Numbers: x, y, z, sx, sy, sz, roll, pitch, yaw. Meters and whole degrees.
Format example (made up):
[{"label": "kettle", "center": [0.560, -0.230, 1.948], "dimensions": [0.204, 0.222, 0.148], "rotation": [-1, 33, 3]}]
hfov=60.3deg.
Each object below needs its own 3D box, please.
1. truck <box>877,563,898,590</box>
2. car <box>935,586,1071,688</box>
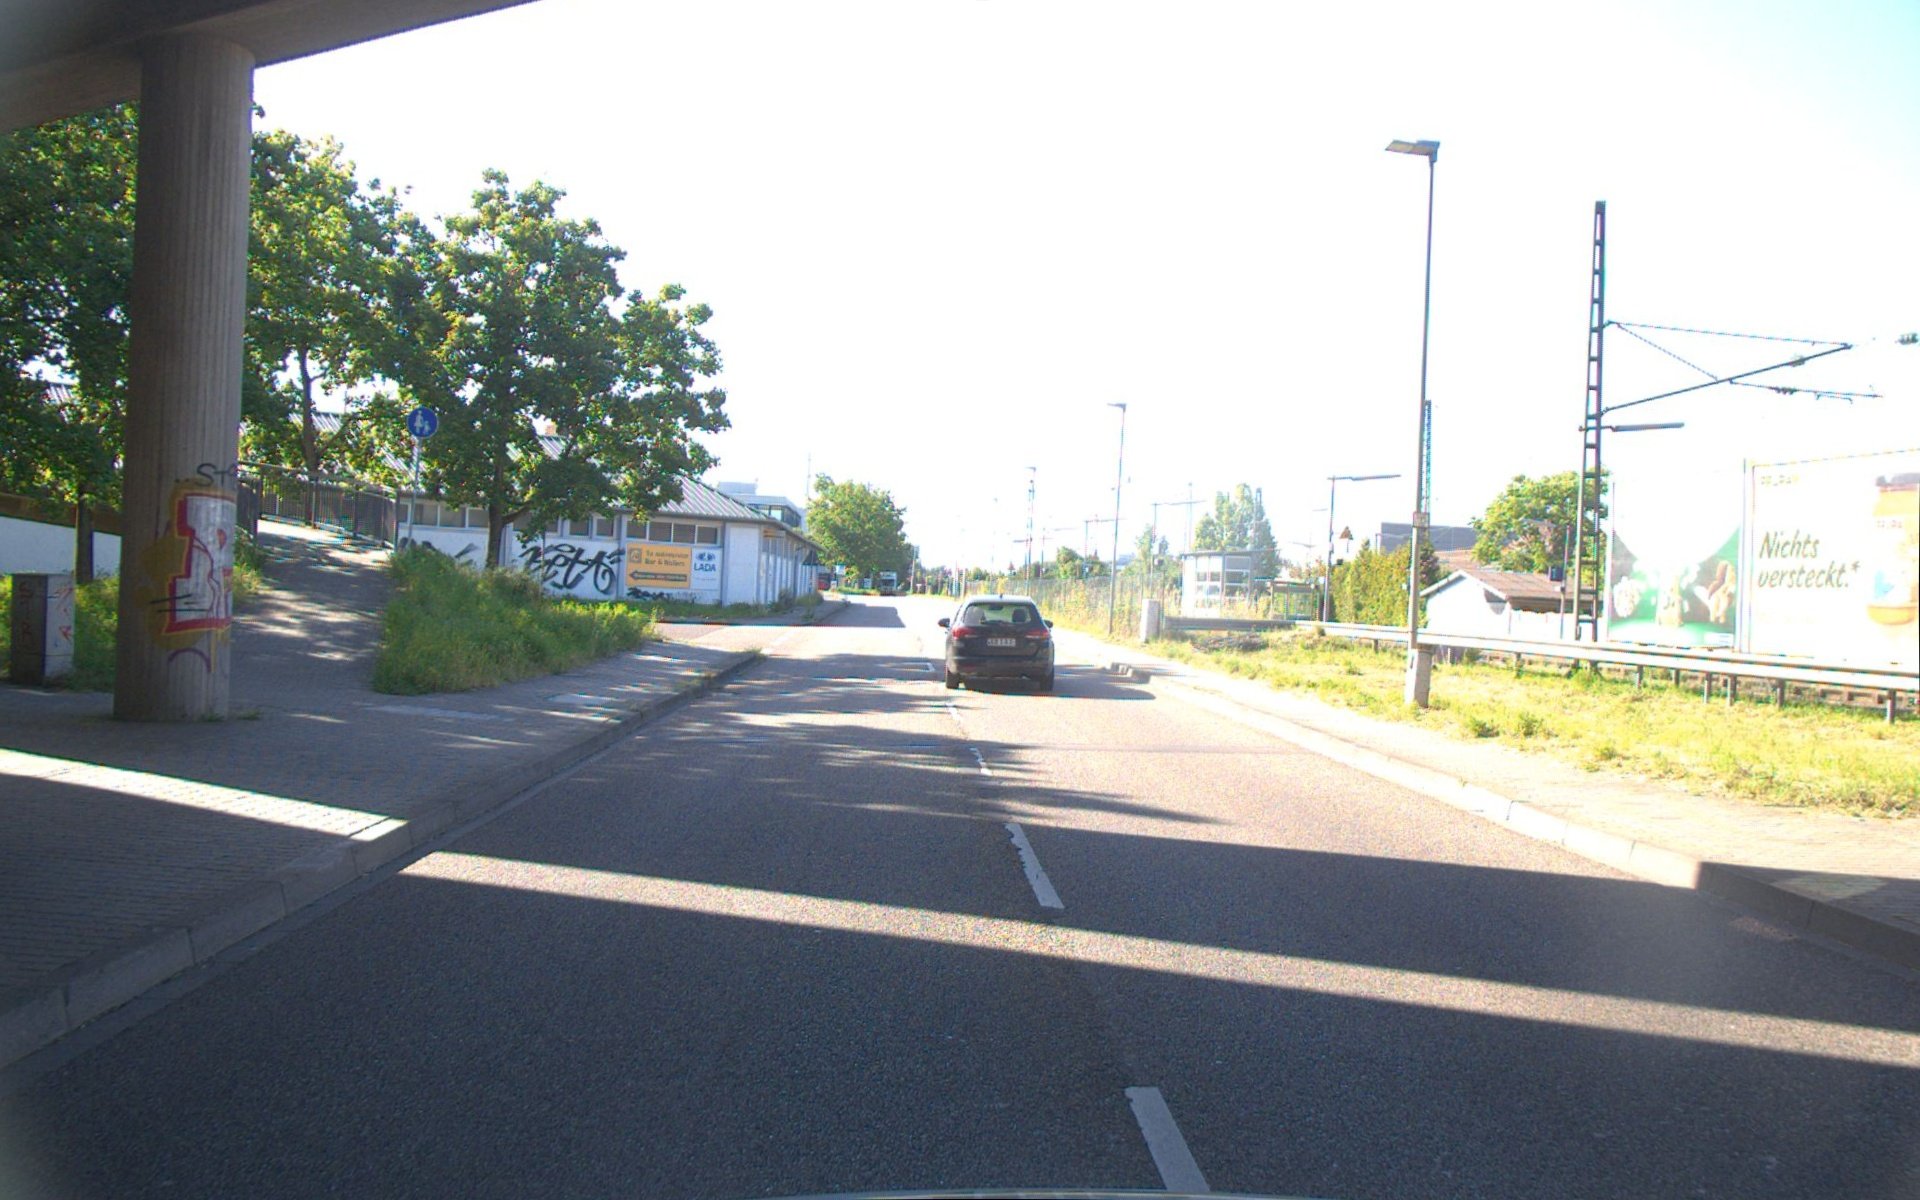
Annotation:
[{"label": "truck", "center": [-11.254, -3.583, 255.921], "dimensions": [2.562, 3.952, 13.521], "rotation": [3, 0, -4]}, {"label": "car", "center": [0.621, 0.554, 27.589], "dimensions": [1.903, 1.514, 4.563], "rotation": [1, 0, -3]}]
